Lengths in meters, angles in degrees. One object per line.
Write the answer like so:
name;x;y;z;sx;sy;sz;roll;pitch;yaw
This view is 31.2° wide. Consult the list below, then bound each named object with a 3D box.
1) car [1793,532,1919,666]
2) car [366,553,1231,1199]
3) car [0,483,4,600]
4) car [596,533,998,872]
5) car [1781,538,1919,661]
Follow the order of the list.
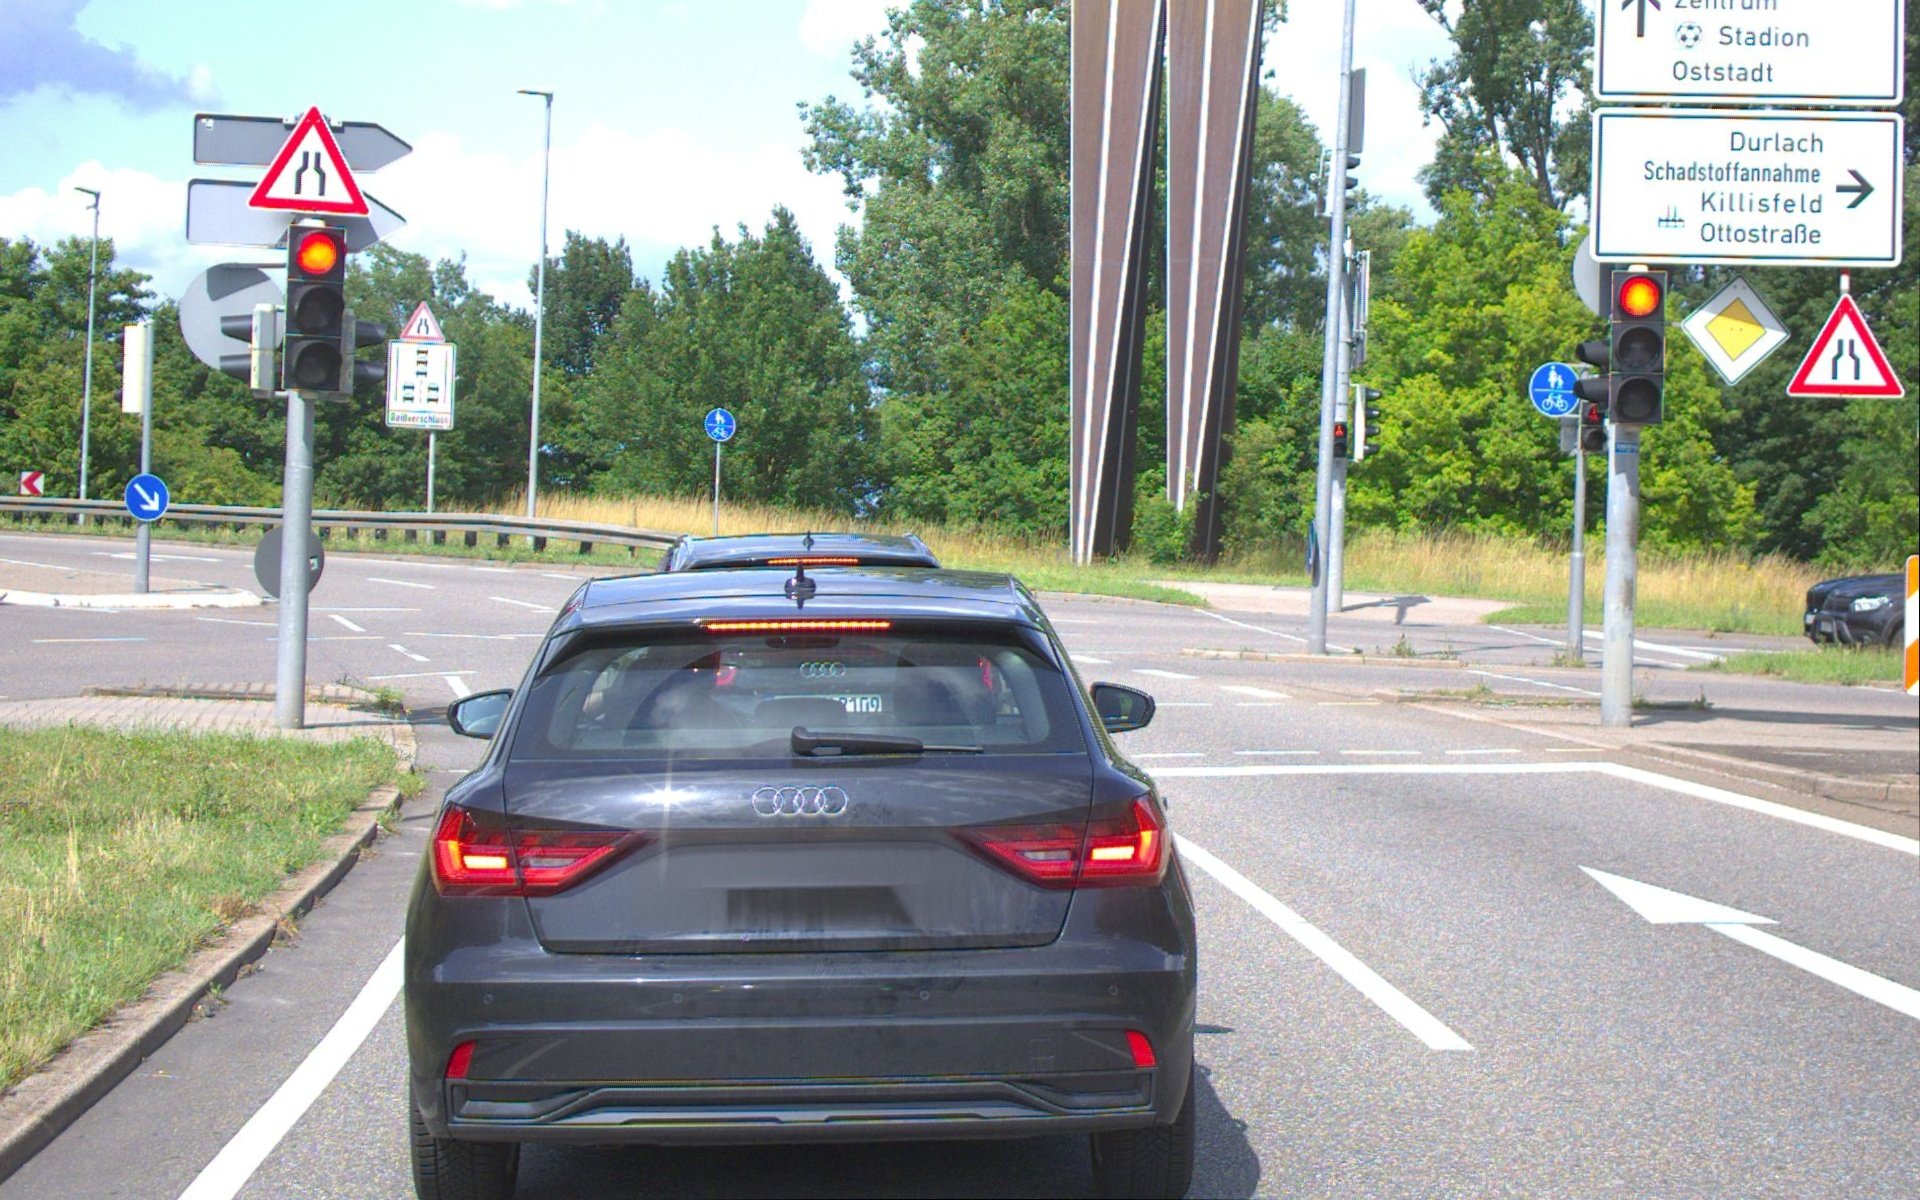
car;12.390;0.018;41.317;4.268;1.539;1.737;2;1;-2
car;-0.354;0.608;8.888;1.726;1.399;4.000;0;2;-1
car;-13.453;-0.802;42.846;1.947;1.413;3.971;1;1;-31
car;-0.864;0.403;16.697;1.726;1.418;3.845;0;2;-5
car;13.454;0.024;45.188;4.847;1.539;1.737;2;1;-2
